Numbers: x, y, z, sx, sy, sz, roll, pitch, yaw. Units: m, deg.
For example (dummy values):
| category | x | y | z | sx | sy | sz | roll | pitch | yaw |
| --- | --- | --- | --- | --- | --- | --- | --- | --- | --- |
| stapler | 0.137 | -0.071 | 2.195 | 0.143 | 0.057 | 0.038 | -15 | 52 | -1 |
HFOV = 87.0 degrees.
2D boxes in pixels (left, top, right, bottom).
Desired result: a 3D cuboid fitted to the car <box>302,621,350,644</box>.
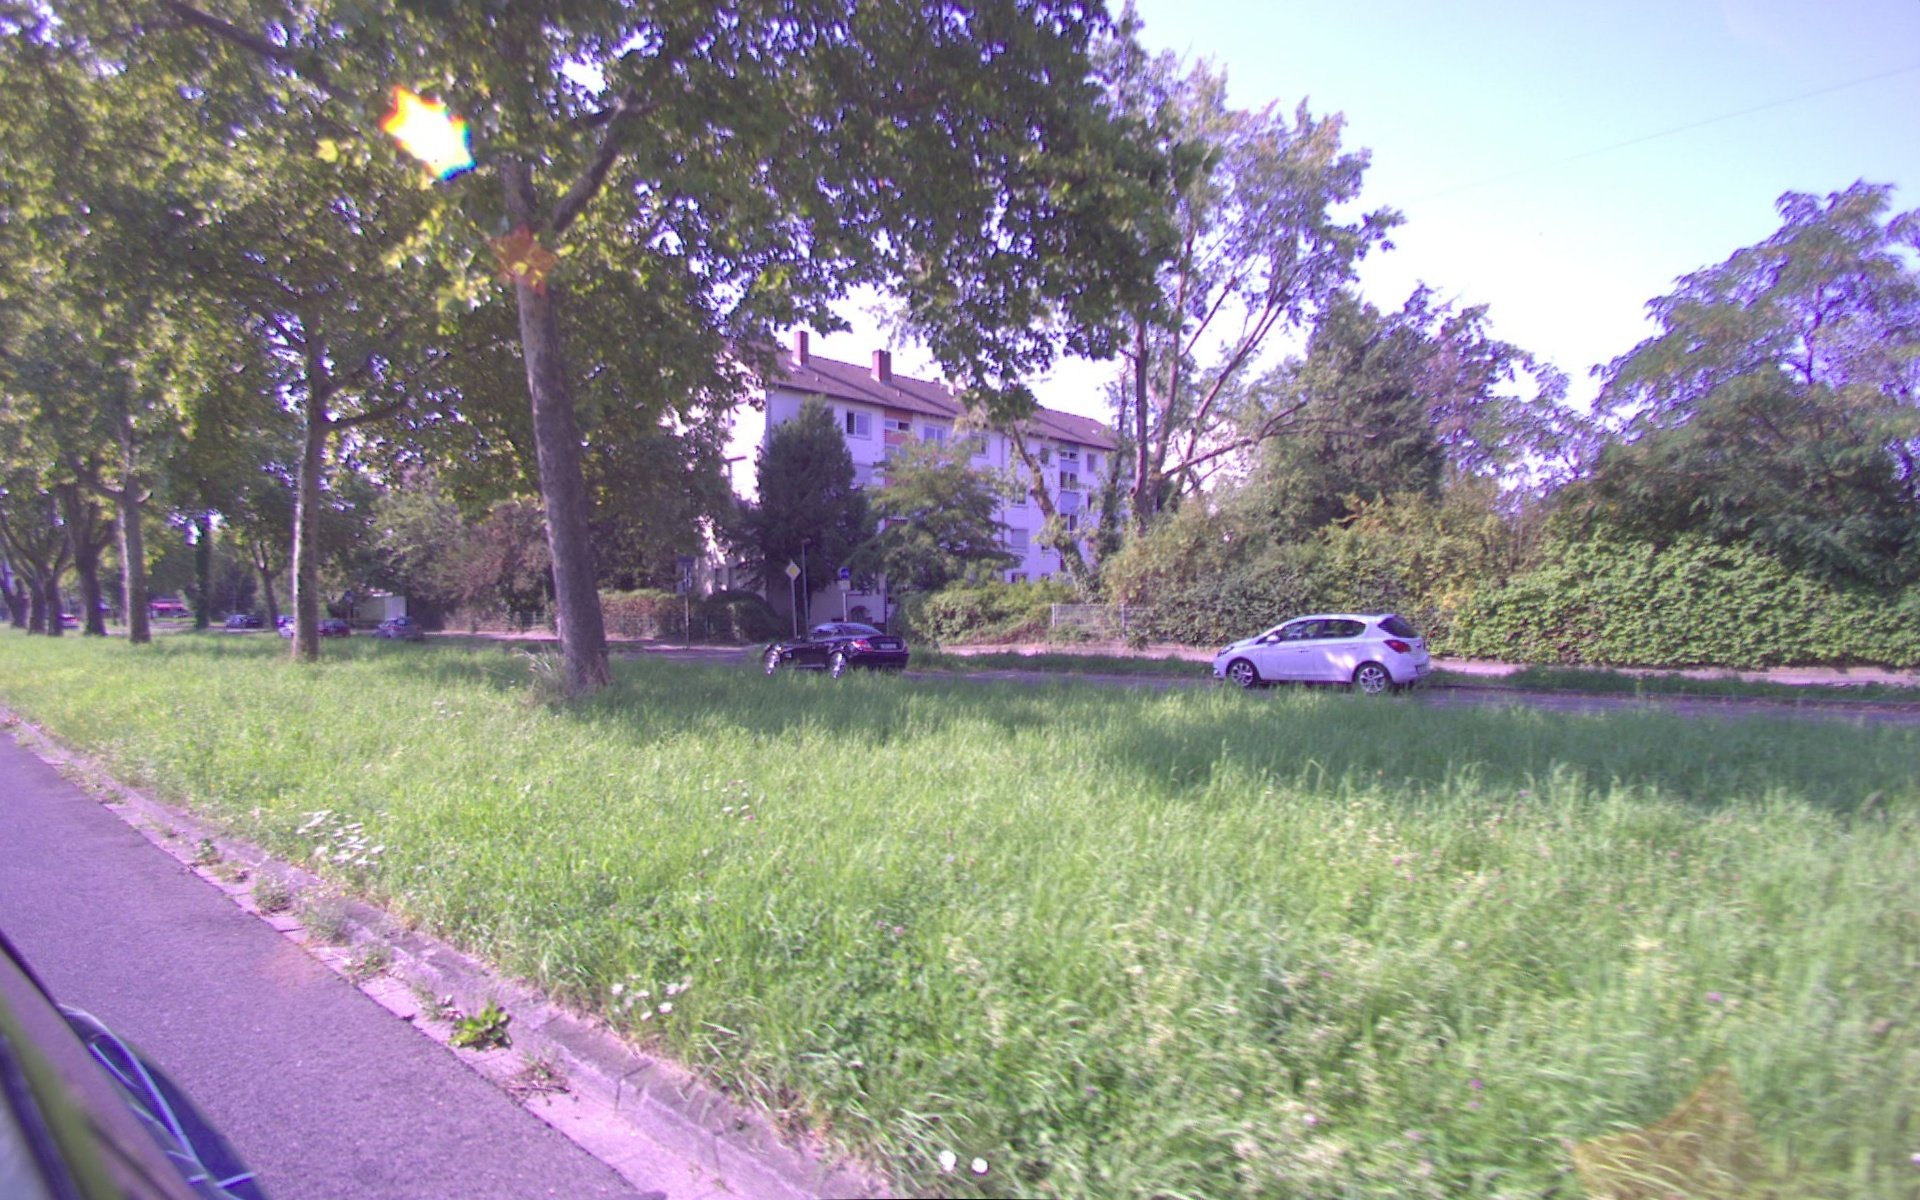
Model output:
| category | x | y | z | sx | sy | sz | roll | pitch | yaw |
| --- | --- | --- | --- | --- | --- | --- | --- | --- | --- |
| car | -37.731 | 1.920 | 60.196 | 3.523 | 1.301 | 1.591 | -1 | 0 | 44 |

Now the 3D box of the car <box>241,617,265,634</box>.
| category | x | y | z | sx | sy | sz | roll | pitch | yaw |
| --- | --- | --- | --- | --- | --- | --- | --- | --- | --- |
| car | -74.690 | 2.681 | 106.925 | 1.625 | 1.684 | 3.737 | 0 | -1 | -43 |

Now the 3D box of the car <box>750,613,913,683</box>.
| category | x | y | z | sx | sy | sz | roll | pitch | yaw |
| --- | --- | --- | --- | --- | --- | --- | --- | --- | --- |
| car | -3.073 | 1.069 | 23.808 | 3.897 | 1.490 | 1.628 | -1 | 0 | 41 |

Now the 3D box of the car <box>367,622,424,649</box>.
| category | x | y | z | sx | sy | sz | roll | pitch | yaw |
| --- | --- | --- | --- | --- | --- | --- | --- | --- | --- |
| car | -29.210 | 1.809 | 52.359 | 3.523 | 1.301 | 1.591 | -1 | 0 | 44 |

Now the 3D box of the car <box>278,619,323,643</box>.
| category | x | y | z | sx | sy | sz | roll | pitch | yaw |
| --- | --- | --- | --- | --- | --- | --- | --- | --- | --- |
| car | -41.416 | 1.920 | 63.513 | 3.523 | 1.417 | 1.591 | -1 | -1 | 44 |

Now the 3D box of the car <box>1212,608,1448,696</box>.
| category | x | y | z | sx | sy | sz | roll | pitch | yaw |
| --- | --- | --- | --- | --- | --- | --- | --- | --- | --- |
| car | 6.951 | 0.910 | 19.248 | 3.897 | 1.490 | 1.628 | -1 | 0 | 41 |

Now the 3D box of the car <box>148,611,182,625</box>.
| category | x | y | z | sx | sy | sz | roll | pitch | yaw |
| --- | --- | --- | --- | --- | --- | --- | --- | --- | --- |
| car | -123.560 | 2.765 | 157.250 | 3.966 | 2.109 | 1.834 | 0 | -1 | -45 |
